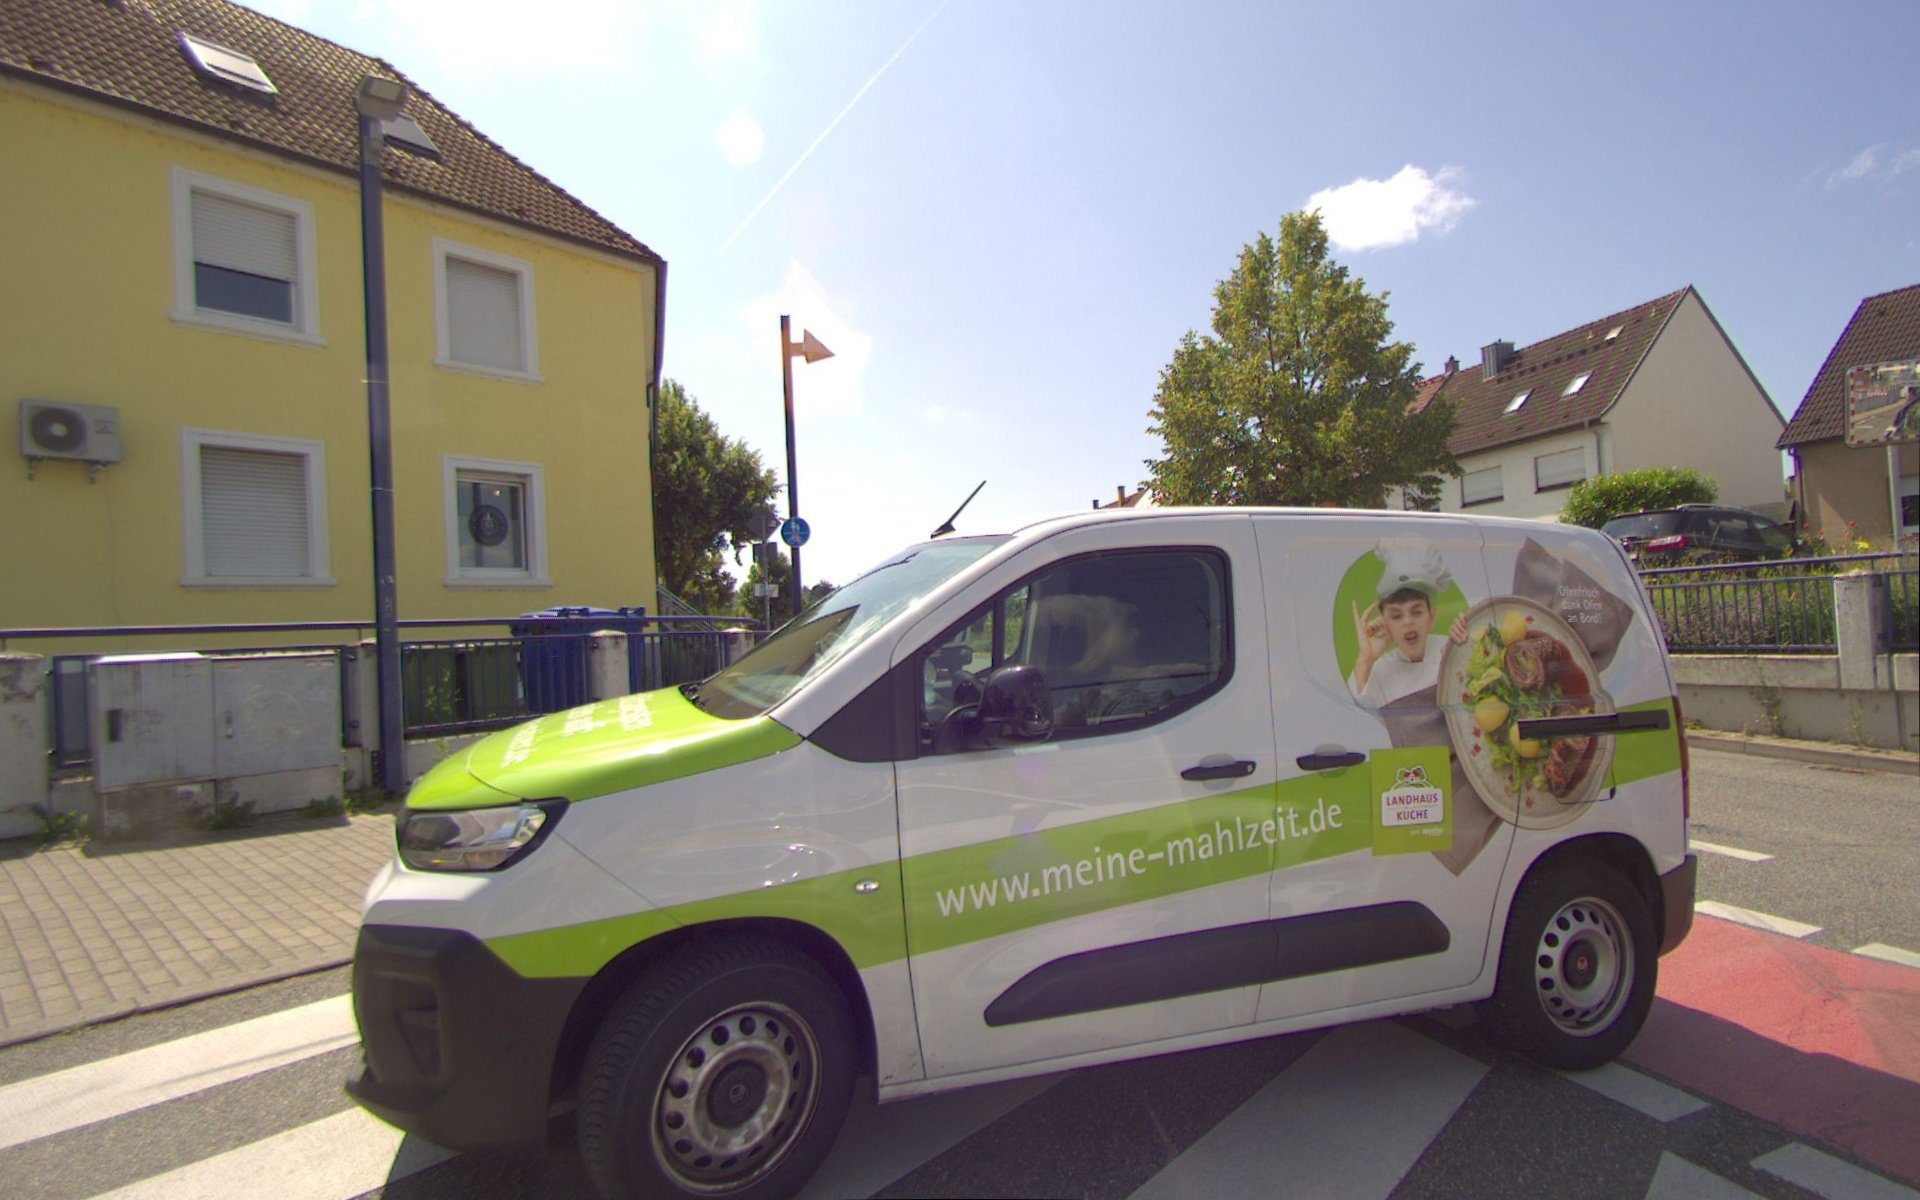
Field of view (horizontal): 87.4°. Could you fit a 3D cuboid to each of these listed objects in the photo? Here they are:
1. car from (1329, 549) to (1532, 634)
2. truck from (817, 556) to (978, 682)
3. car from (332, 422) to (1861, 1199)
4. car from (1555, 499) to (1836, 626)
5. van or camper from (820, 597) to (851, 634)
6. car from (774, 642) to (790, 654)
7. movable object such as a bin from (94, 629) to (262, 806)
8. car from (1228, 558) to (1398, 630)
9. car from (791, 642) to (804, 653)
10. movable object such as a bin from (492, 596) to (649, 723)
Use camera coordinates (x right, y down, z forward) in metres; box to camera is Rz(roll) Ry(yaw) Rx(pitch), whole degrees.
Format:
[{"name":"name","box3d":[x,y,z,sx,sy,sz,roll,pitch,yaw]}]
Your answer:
[{"name":"car","box3d":[9.594,-0.167,20.524,3.558,1.608,1.863,0,1,-23]},{"name":"truck","box3d":[-1.974,0.594,27.418,2.576,2.914,8.044,0,-2,-17]},{"name":"car","box3d":[0.611,0.556,3.595,4.485,1.880,1.811,0,1,-17]},{"name":"car","box3d":[11.712,-0.542,16.011,3.943,1.821,1.863,0,1,-23]},{"name":"van or camper","box3d":[-9.339,1.149,74.922,1.969,2.665,5.384,1,-1,-10]},{"name":"car","box3d":[-22.435,6.049,126.586,1.781,1.416,3.995,-2,-1,-8]},{"name":"movable object such as a bin","box3d":[-6.111,0.873,7.848,0.876,1.241,0.897,-3,-2,43]},{"name":"car","box3d":[8.487,-0.143,24.179,3.558,1.608,1.863,0,1,-23]},{"name":"car","box3d":[-26.166,7.633,161.806,1.781,1.416,3.995,-3,-1,-8]},{"name":"movable object such as a bin","box3d":[-4.039,0.600,10.482,0.827,1.229,1.274,-3,-2,28]}]
